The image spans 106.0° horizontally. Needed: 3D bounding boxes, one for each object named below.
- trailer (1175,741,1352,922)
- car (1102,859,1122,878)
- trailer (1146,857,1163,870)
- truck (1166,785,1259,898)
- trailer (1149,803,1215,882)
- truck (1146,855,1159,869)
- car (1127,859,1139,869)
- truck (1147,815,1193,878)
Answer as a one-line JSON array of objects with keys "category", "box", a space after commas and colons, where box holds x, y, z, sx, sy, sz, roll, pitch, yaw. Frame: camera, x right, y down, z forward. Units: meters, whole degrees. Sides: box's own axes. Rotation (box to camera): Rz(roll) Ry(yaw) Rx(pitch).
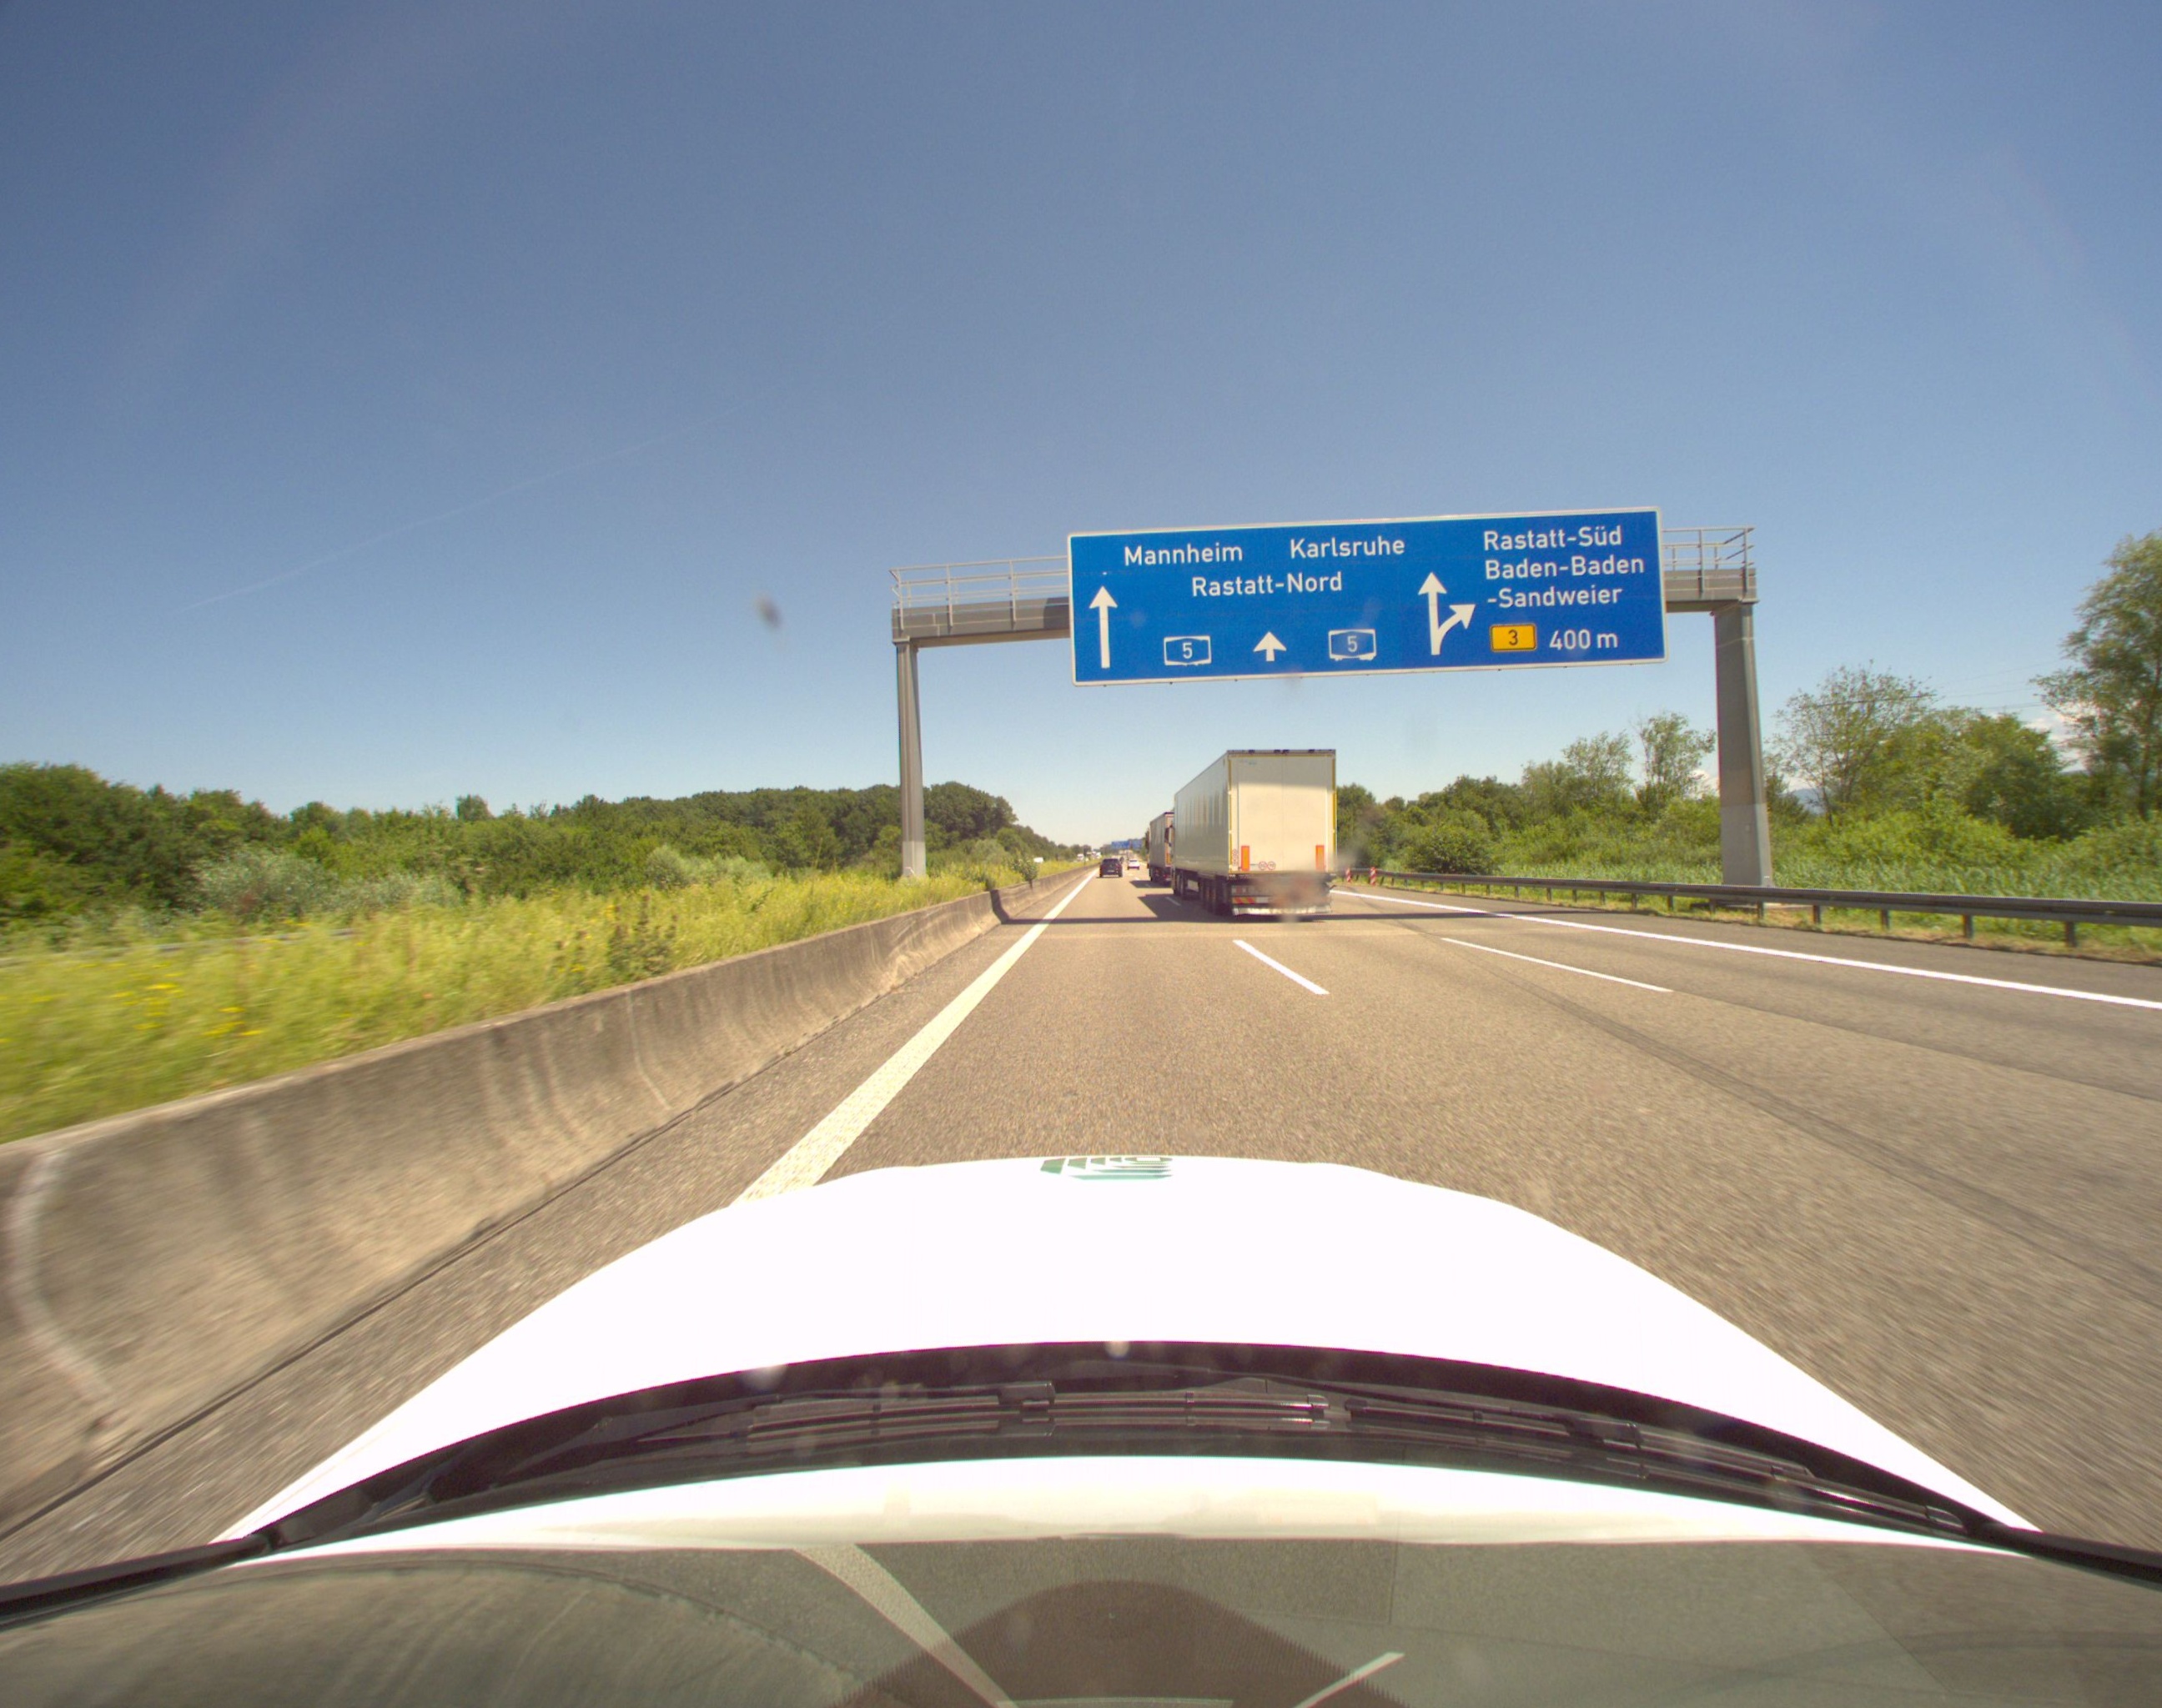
[{"category": "trailer", "box": [4.871, -0.488, 24.772, 2.784, 4.035, 12.571, -1, 0, 1]}, {"category": "car", "box": [2.705, 1.248, 71.586, 1.654, 1.549, 3.783, -1, -1, 1]}, {"category": "trailer", "box": [12.177, 1.576, 135.541, 2.412, 2.013, 6.035, -1, 0, 1]}, {"category": "truck", "box": [5.076, -0.445, 32.484, 2.789, 4.007, 6.022, -1, 0, 1]}, {"category": "trailer", "box": [5.850, -0.522, 49.823, 2.697, 4.068, 14.752, -1, -1, 2]}, {"category": "truck", "box": [12.367, 1.389, 140.800, 1.986, 2.373, 4.646, -1, 0, 1]}, {"category": "car", "box": [7.935, 1.480, 124.457, 1.733, 1.486, 4.002, -1, 0, 2]}, {"category": "truck", "box": [6.122, -0.459, 56.777, 2.690, 4.094, 6.456, -1, -1, 2]}]
